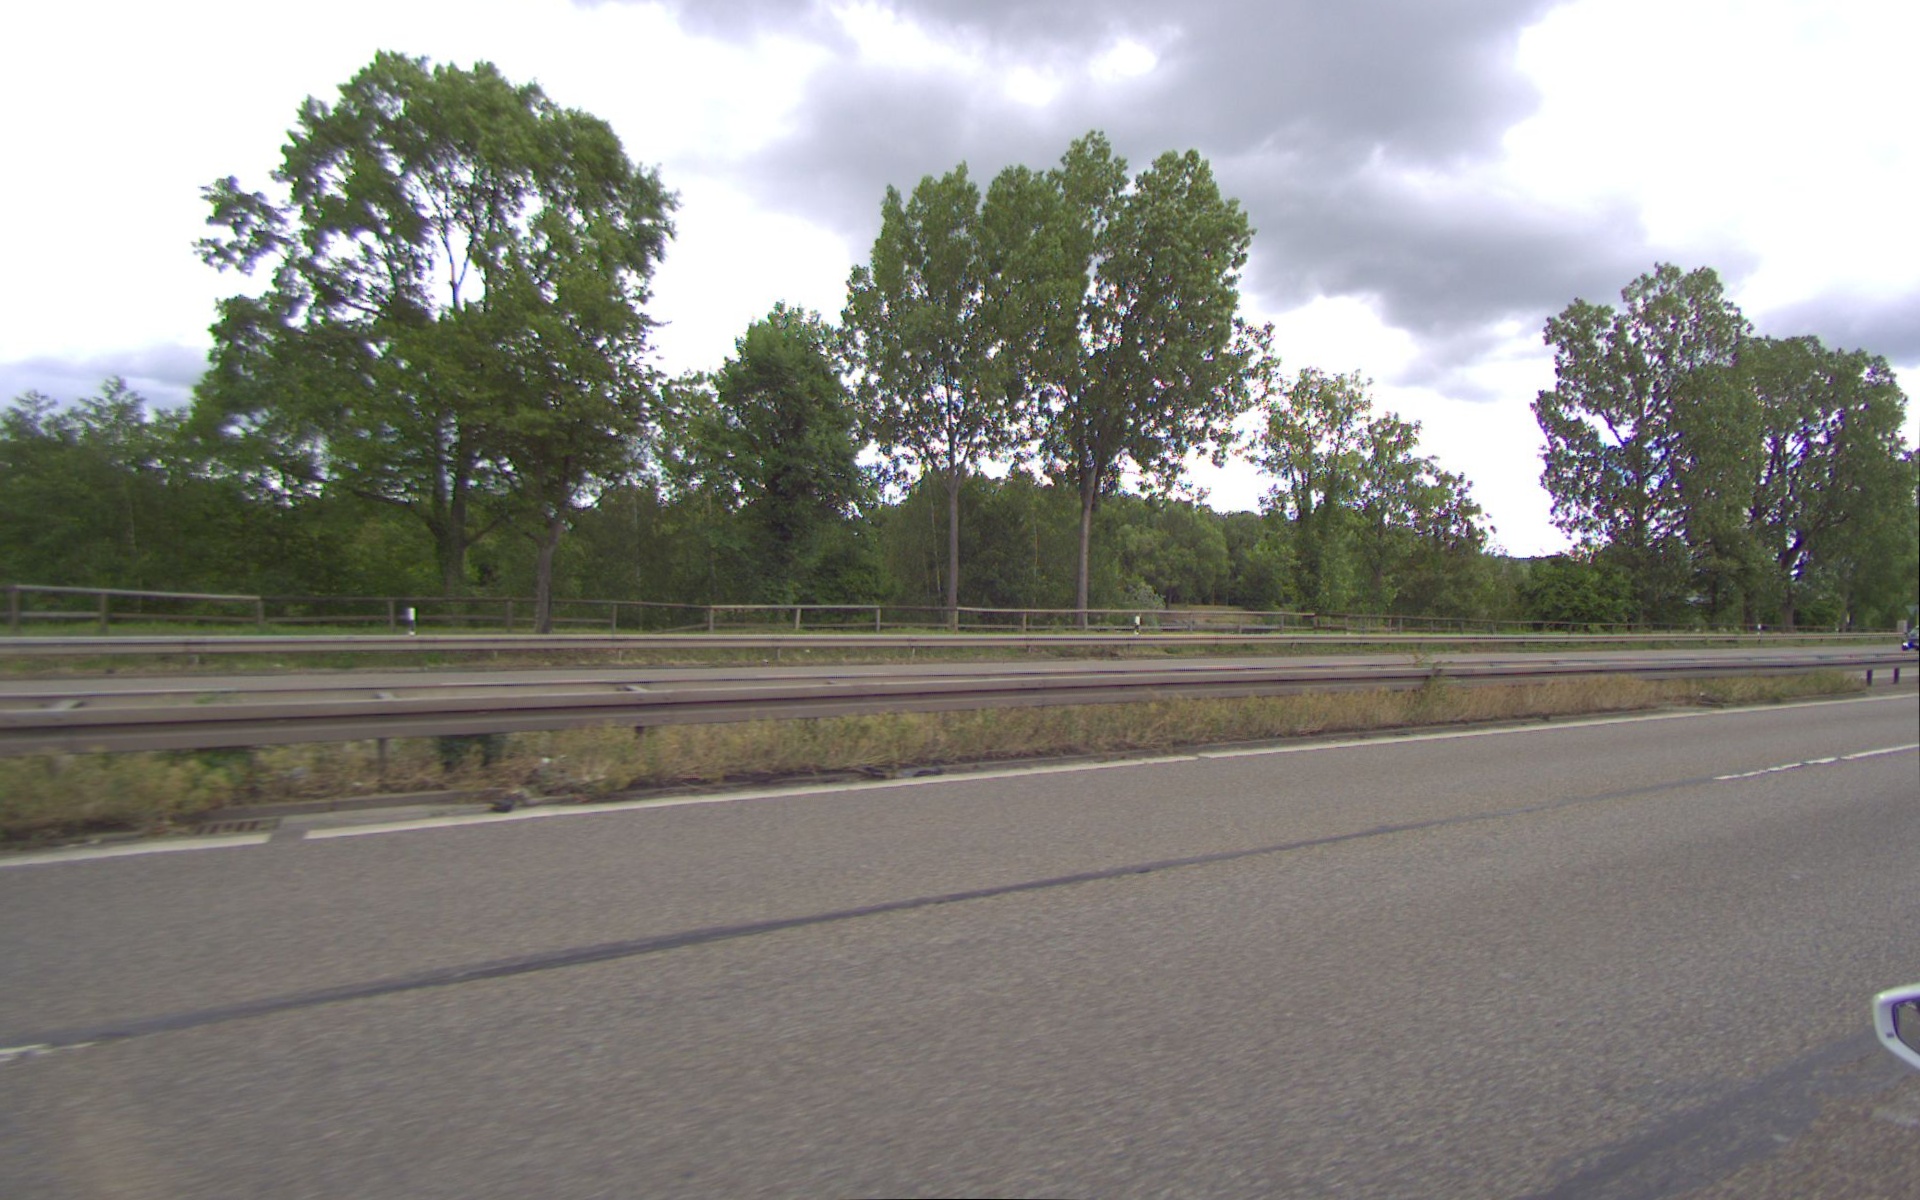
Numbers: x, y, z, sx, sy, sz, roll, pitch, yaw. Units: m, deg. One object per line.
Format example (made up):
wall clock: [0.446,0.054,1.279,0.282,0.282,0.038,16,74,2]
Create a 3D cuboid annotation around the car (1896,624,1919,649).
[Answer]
car: [57.376,2.126,59.706,4.592,1.432,1.686,1,-1,-35]
